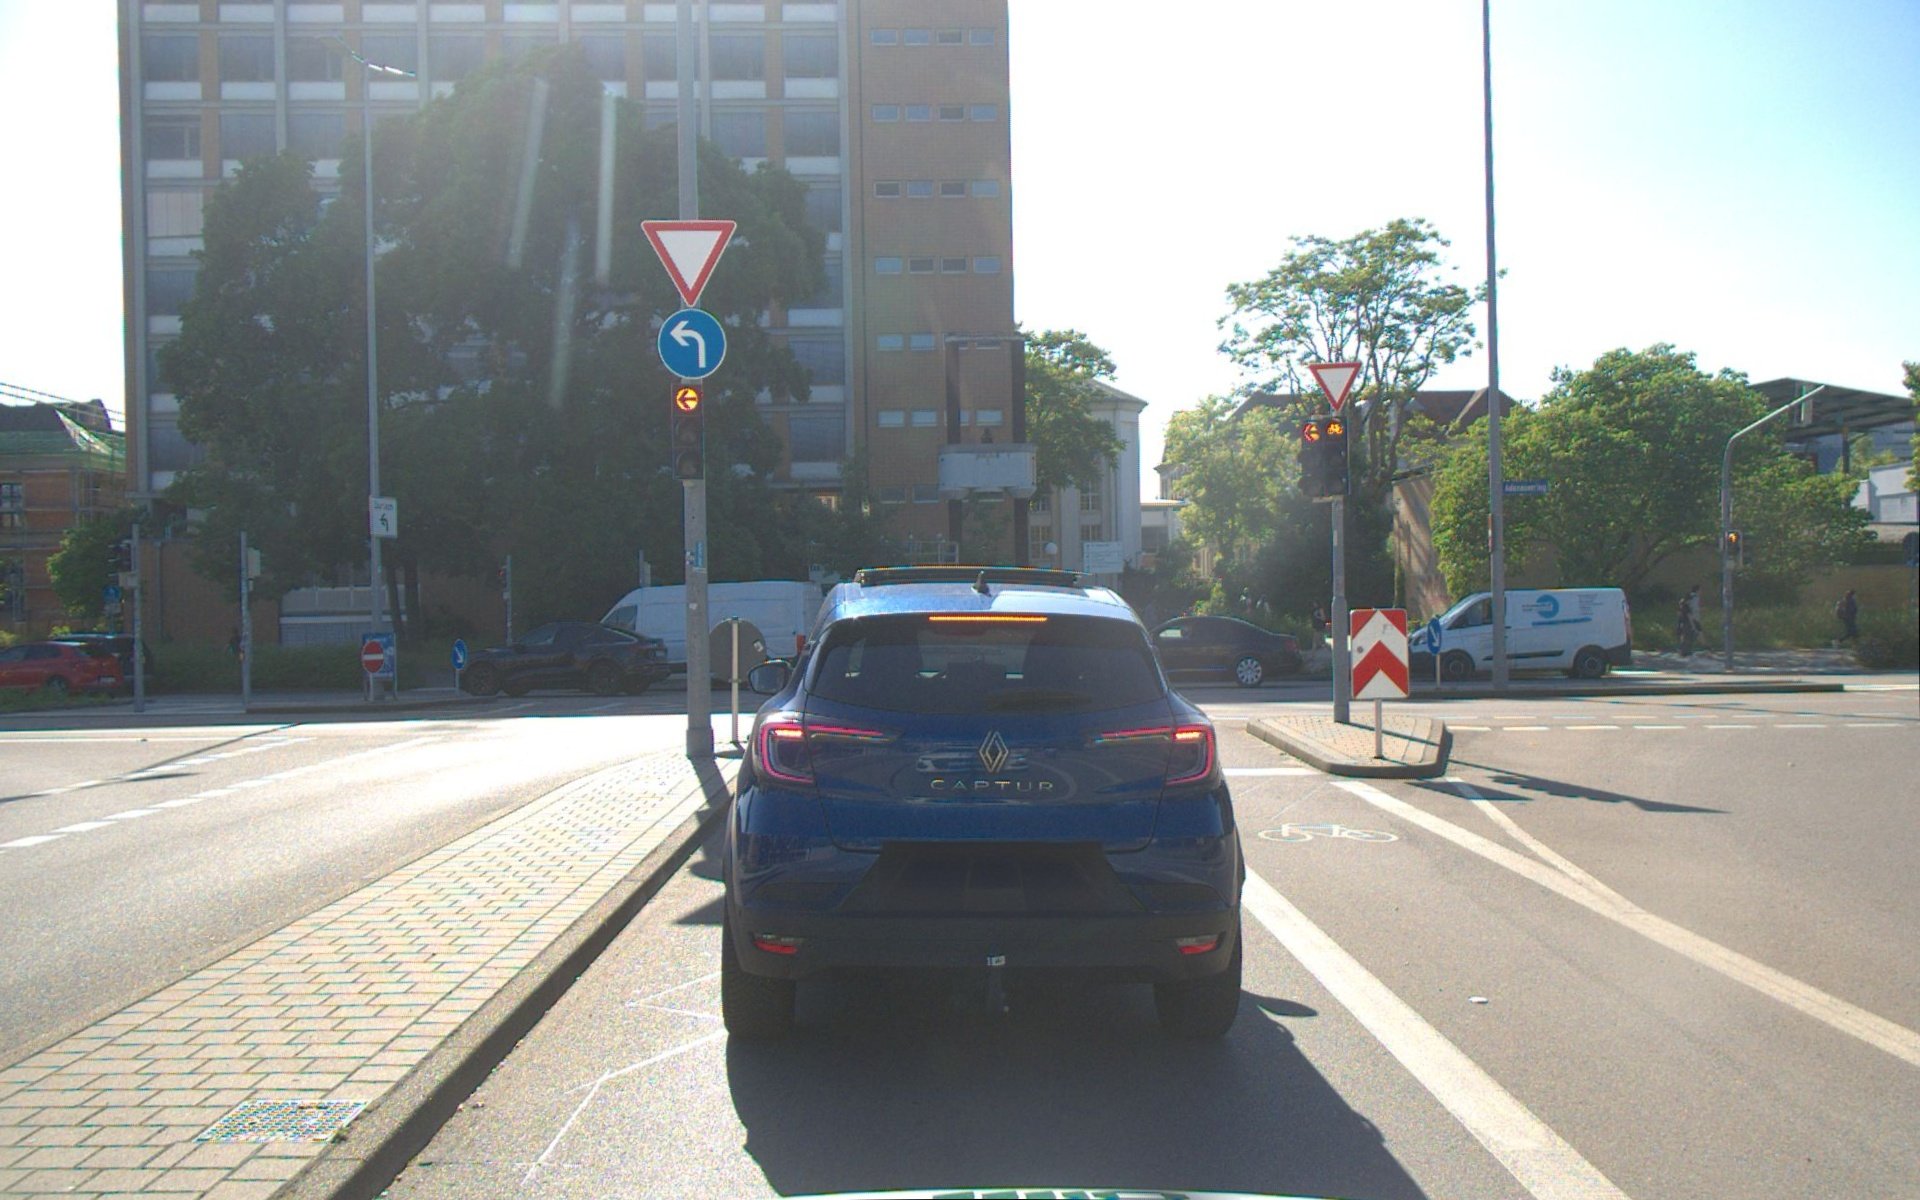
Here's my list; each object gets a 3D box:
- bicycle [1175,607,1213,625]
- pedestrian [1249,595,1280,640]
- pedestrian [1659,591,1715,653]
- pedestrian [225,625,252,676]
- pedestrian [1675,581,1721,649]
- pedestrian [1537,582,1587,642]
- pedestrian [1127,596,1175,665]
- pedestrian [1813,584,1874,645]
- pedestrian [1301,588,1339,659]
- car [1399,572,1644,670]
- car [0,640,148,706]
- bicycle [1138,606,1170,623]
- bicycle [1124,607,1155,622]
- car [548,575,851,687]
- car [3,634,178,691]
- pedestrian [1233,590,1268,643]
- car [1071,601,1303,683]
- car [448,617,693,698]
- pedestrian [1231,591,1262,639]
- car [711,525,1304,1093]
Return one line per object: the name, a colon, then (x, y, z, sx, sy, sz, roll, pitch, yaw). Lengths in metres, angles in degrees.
bicycle: (11.848, 0.805, 83.755, 1.739, 0.837, 0.763, -1, 0, -11)
pedestrian: (11.457, 0.655, 62.217, 0.917, 1.641, 1.175, -1, 0, -1)
pedestrian: (18.443, 0.545, 41.974, 1.052, 1.547, 0.879, -1, 0, 4)
pedestrian: (-23.256, 1.628, 53.303, 0.522, 1.598, 0.555, -1, 0, 24)
pedestrian: (19.603, 0.395, 43.949, 0.942, 1.763, 0.926, -1, 0, 16)
pedestrian: (15.856, 0.311, 43.598, 1.062, 1.547, 0.931, -1, 0, 9)
pedestrian: (5.391, 0.858, 46.641, 1.269, 1.888, 0.967, -1, 0, 11)
pedestrian: (23.059, 0.365, 43.184, 1.122, 1.547, 0.942, -1, 0, 5)
pedestrian: (9.825, 0.639, 45.157, 0.912, 1.888, 0.808, -1, 0, 8)
car: (12.492, 0.473, 37.090, 4.892, 2.049, 2.074, -1, 0, 9)
car: (-22.178, 1.767, 40.165, 3.958, 1.464, 2.067, -1, 0, 11)
bicycle: (11.190, 0.842, 95.546, 1.735, 0.914, 0.765, -1, 0, -1)
bicycle: (10.844, 0.867, 99.905, 1.735, 0.908, 0.765, -1, 0, -1)
car: (-6.421, 0.761, 41.162, 6.787, 2.591, 3.015, -1, 0, 12)
car: (-24.220, 1.731, 46.105, 3.958, 1.464, 2.067, -1, 0, 15)
pedestrian: (11.438, 0.658, 65.071, 1.132, 2.049, 1.164, -1, 0, -1)
car: (4.832, 0.877, 35.322, 4.739, 1.609, 2.103, -1, 0, 9)
car: (-8.708, 1.289, 37.145, 4.922, 1.702, 2.001, 1, -3, 10)
pedestrian: (10.835, 0.562, 62.580, 0.933, 1.772, 0.984, -1, 0, -1)
car: (0.091, 0.615, 6.864, 1.758, 1.684, 3.852, 1, 0, -2)
